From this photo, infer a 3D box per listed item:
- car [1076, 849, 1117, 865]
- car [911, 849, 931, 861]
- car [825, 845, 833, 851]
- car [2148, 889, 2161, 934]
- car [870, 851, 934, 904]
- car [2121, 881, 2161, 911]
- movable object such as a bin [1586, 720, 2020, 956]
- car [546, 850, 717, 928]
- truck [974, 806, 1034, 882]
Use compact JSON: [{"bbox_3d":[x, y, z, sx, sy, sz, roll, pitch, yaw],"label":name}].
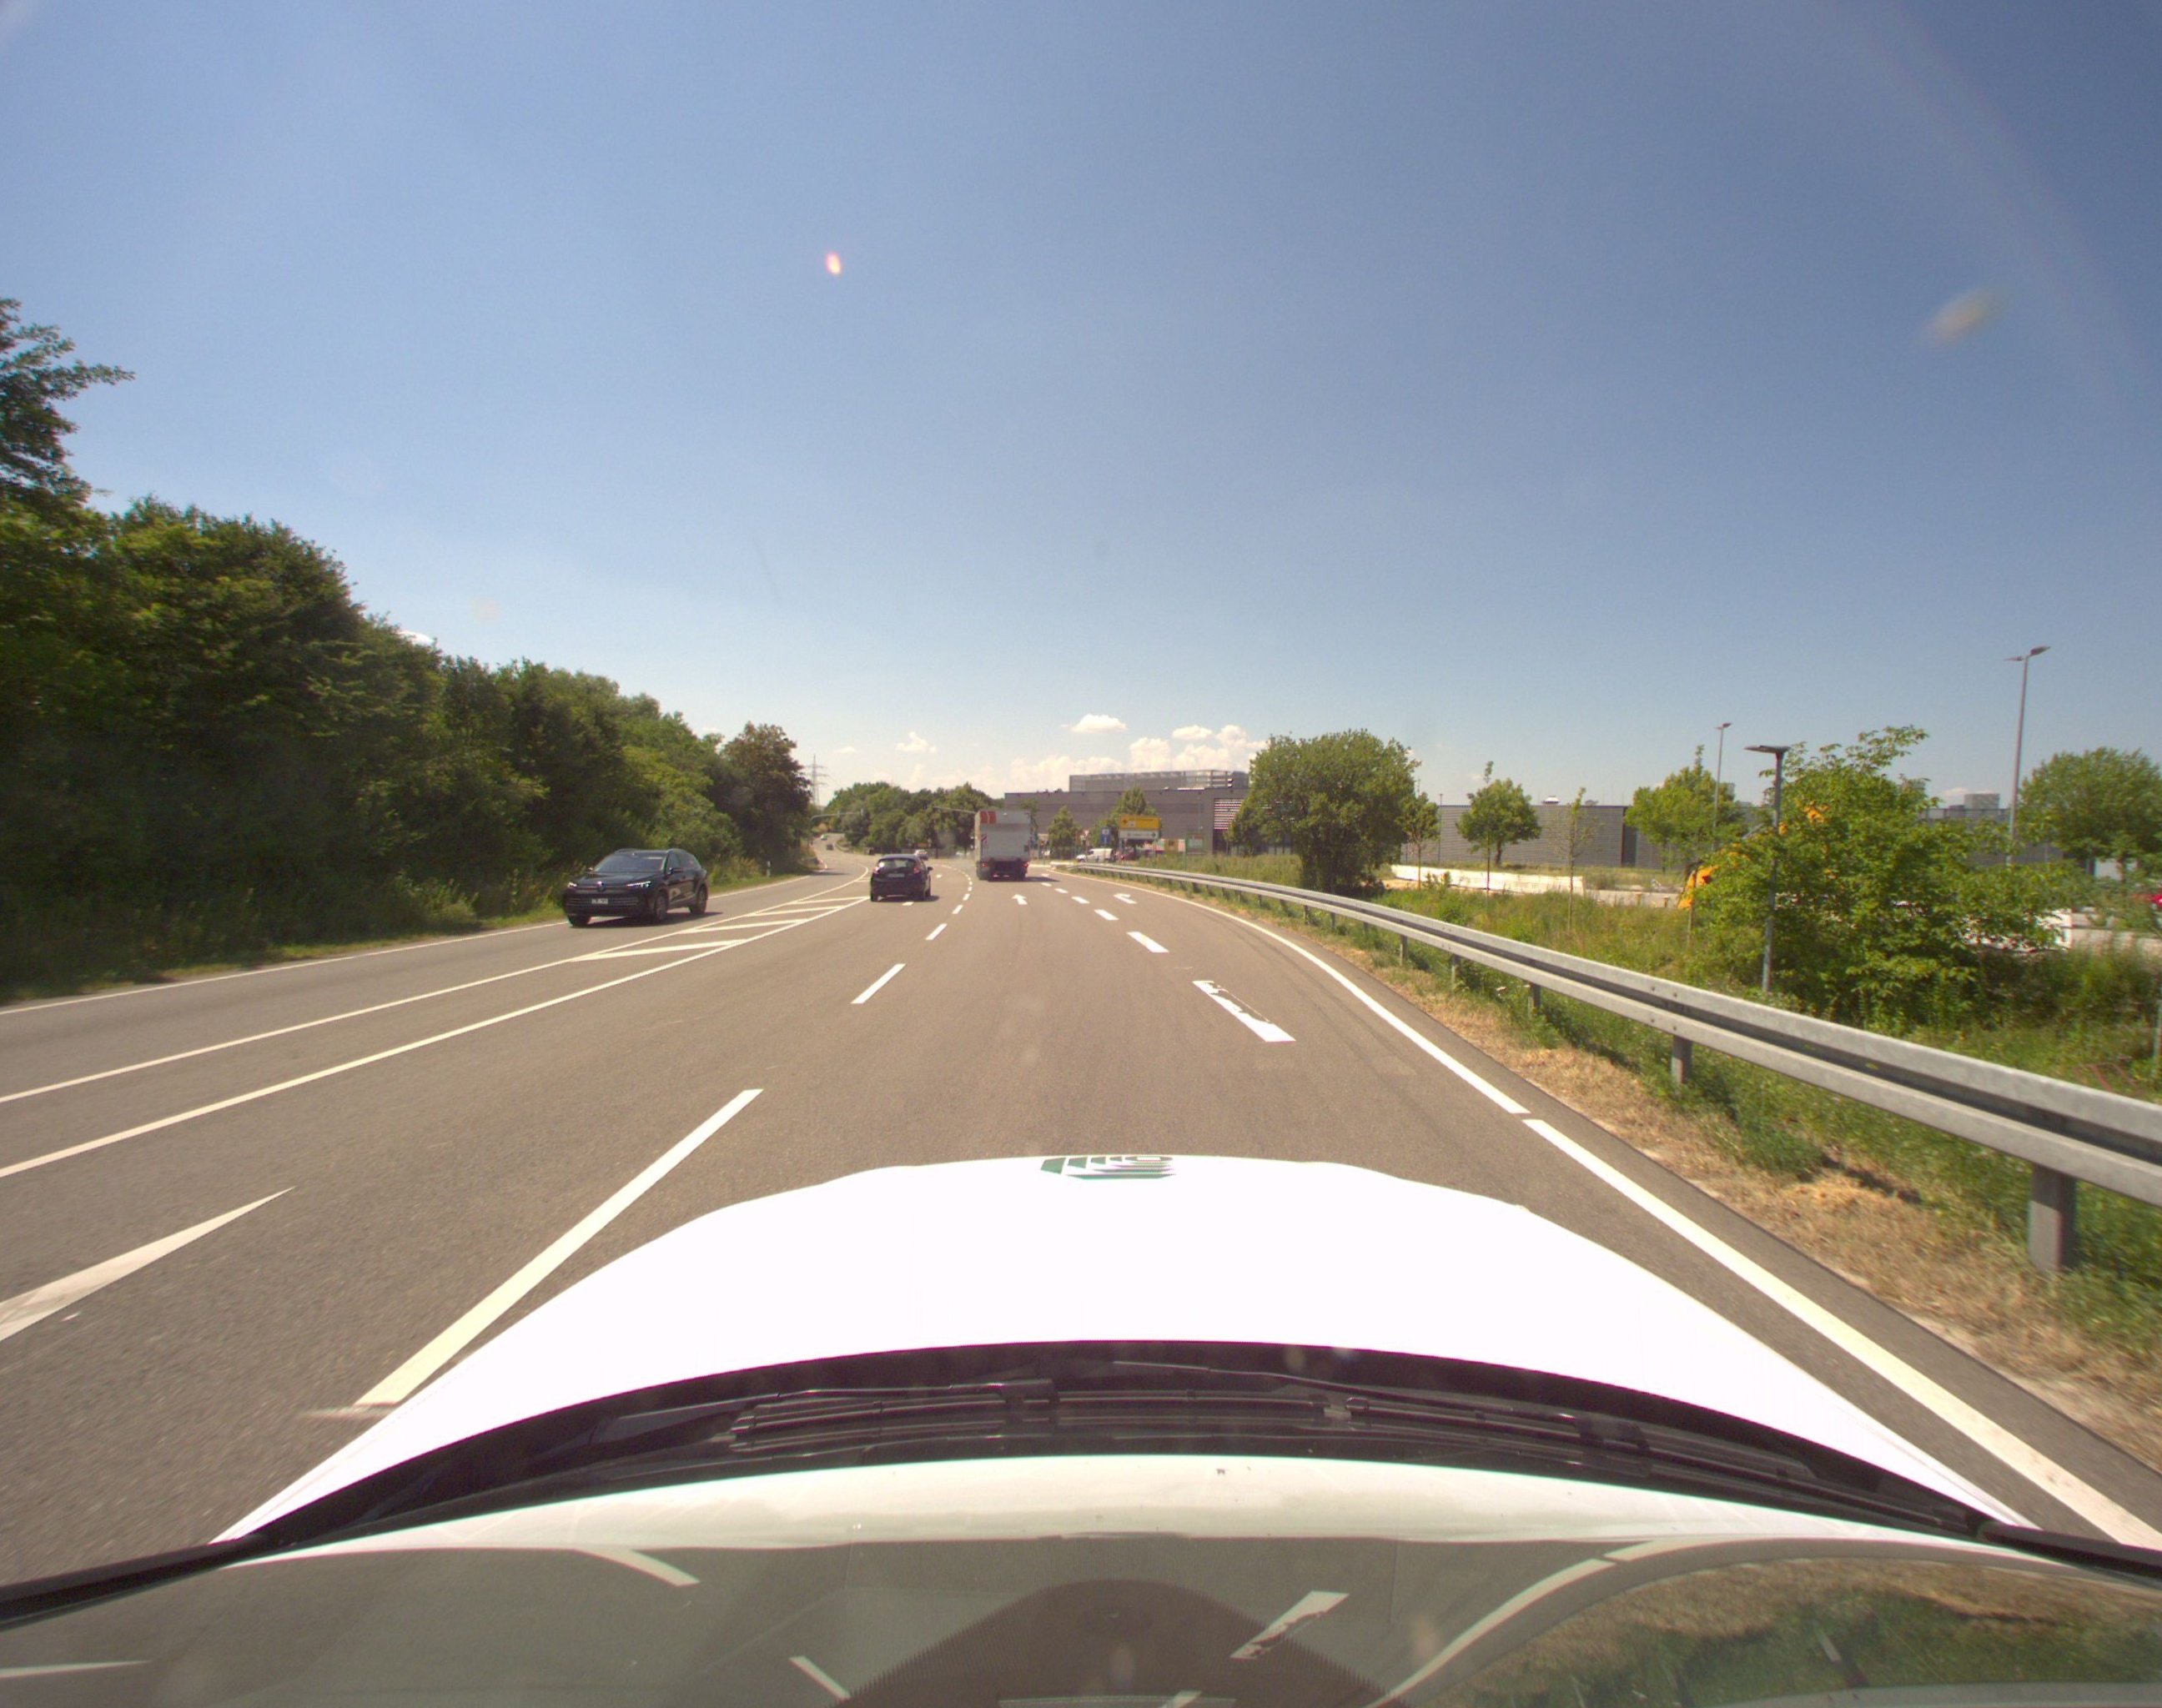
[{"bbox_3d":[1.954,0.337,100.257,4.712,1.932,2.161,0,0,13],"label":"car"},{"bbox_3d":[-22.846,0.129,116.250,1.951,1.664,3.971,3,0,-22],"label":"car"},{"bbox_3d":[-72.716,-1.766,235.320,1.997,1.684,3.979,0,0,-15],"label":"car"},{"bbox_3d":[37.493,2.017,26.454,1.974,1.508,4.642,0,0,33],"label":"car"},{"bbox_3d":[-5.807,0.711,26.764,1.651,1.493,4.198,1,1,-7],"label":"car"},{"bbox_3d":[64.898,2.508,48.694,2.075,1.685,4.569,1,0,35],"label":"car"},{"bbox_3d":[19.350,-0.545,23.178,3.419,5.259,9.214,2,2,-5],"label":"movable object such as a bin"},{"bbox_3d":[-10.276,0.713,19.073,1.993,1.593,4.668,0,0,-9],"label":"car"},{"bbox_3d":[-4.378,-0.569,44.782,2.802,3.710,9.082,1,1,-8],"label":"truck"}]
